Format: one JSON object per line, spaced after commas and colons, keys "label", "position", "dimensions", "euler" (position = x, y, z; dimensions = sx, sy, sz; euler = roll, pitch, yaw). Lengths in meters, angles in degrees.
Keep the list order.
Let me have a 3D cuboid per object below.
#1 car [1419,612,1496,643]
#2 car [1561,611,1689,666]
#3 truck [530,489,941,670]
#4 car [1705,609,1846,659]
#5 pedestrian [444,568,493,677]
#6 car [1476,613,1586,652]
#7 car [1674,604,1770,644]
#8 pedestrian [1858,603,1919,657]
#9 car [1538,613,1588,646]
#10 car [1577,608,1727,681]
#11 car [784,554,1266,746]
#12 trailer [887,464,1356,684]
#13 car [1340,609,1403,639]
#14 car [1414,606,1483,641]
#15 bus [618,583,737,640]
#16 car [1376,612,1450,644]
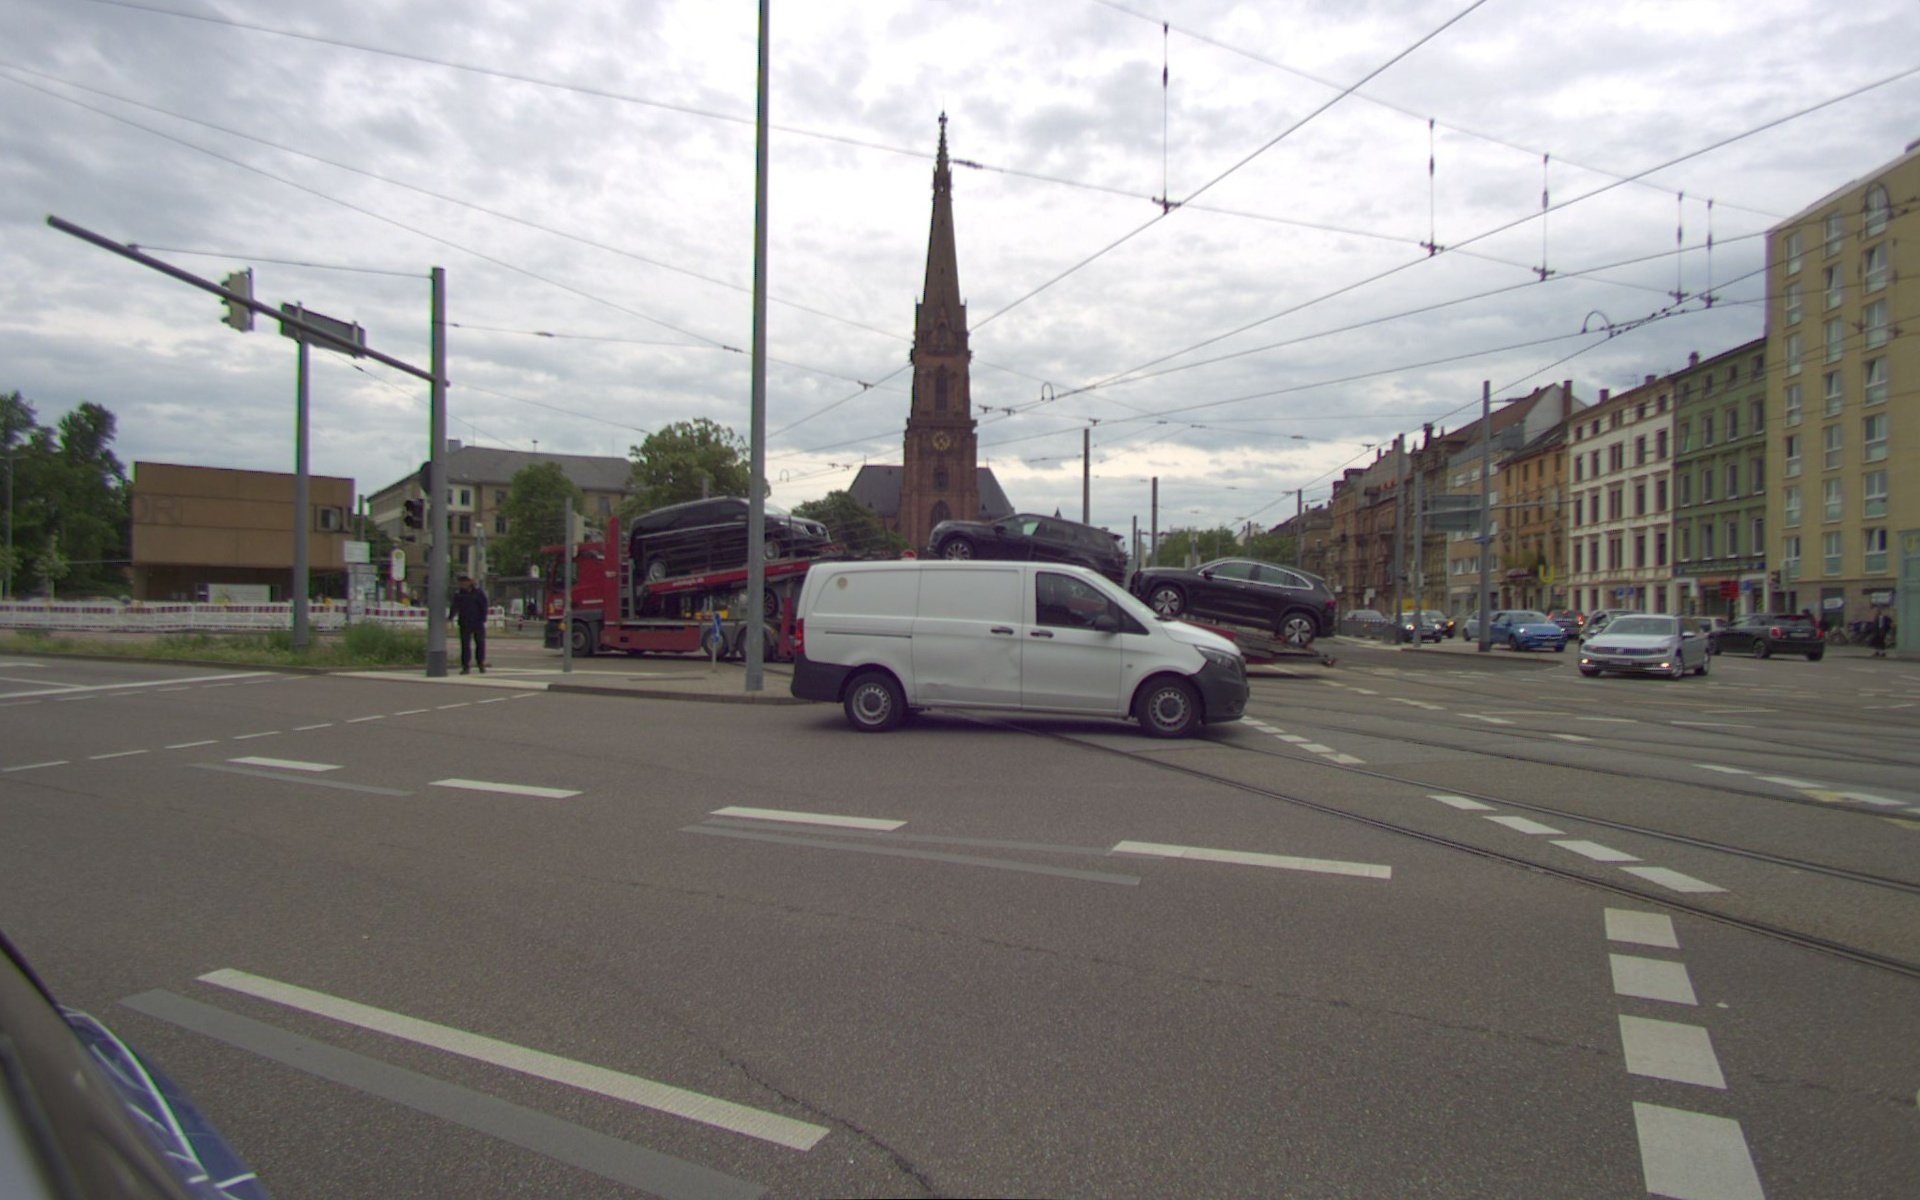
{"label": "car", "position": [24.066, 1.297, 49.103], "dimensions": [1.975, 1.453, 3.994], "euler": [0, -1, 5]}
{"label": "car", "position": [19.769, 1.098, 30.285], "dimensions": [1.979, 1.504, 3.608], "euler": [0, 0, 12]}
{"label": "truck", "position": [-5.795, -0.487, 25.501], "dimensions": [10.389, 3.949, 2.992], "euler": [0, 0, 23]}
{"label": "car", "position": [25.818, 1.043, 32.238], "dimensions": [1.756, 1.479, 3.987], "euler": [0, -1, 10]}
{"label": "pedestrian", "position": [-9.181, 0.416, 18.904], "dimensions": [0.767, 1.958, 0.985], "euler": [1, -1, -28]}
{"label": "car", "position": [20.681, 1.137, 36.855], "dimensions": [1.975, 1.320, 3.994], "euler": [0, -1, 5]}
{"label": "car", "position": [35.831, 1.075, 47.568], "dimensions": [3.931, 1.768, 2.088], "euler": [0, 0, -27]}
{"label": "pedestrian", "position": [31.878, 1.028, 34.747], "dimensions": [1.164, 1.798, 1.040], "euler": [0, -1, 3]}
{"label": "car", "position": [30.412, 1.433, 51.110], "dimensions": [1.814, 1.506, 3.965], "euler": [0, 1, 26]}
{"label": "car", "position": [15.916, 0.947, 23.175], "dimensions": [4.609, 1.504, 2.001], "euler": [1, -1, -44]}
{"label": "car", "position": [0.730, 0.467, 11.452], "dimensions": [5.035, 1.896, 1.917], "euler": [0, 1, 12]}
{"label": "trailer", "position": [3.339, -0.502, 21.589], "dimensions": [9.488, 4.003, 2.975], "euler": [0, 0, 22]}
{"label": "car", "position": [22.169, 1.280, 54.657], "dimensions": [1.974, 1.541, 3.996], "euler": [0, -1, 3]}
{"label": "car", "position": [25.940, 1.195, 53.901], "dimensions": [1.975, 1.741, 3.995], "euler": [0, 0, 5]}
{"label": "bus", "position": [-17.095, 0.583, 60.452], "dimensions": [2.818, 3.100, 12.049], "euler": [0, 1, -36]}
{"label": "car", "position": [21.692, 1.324, 48.608], "dimensions": [1.975, 1.453, 3.994], "euler": [0, -1, 5]}
